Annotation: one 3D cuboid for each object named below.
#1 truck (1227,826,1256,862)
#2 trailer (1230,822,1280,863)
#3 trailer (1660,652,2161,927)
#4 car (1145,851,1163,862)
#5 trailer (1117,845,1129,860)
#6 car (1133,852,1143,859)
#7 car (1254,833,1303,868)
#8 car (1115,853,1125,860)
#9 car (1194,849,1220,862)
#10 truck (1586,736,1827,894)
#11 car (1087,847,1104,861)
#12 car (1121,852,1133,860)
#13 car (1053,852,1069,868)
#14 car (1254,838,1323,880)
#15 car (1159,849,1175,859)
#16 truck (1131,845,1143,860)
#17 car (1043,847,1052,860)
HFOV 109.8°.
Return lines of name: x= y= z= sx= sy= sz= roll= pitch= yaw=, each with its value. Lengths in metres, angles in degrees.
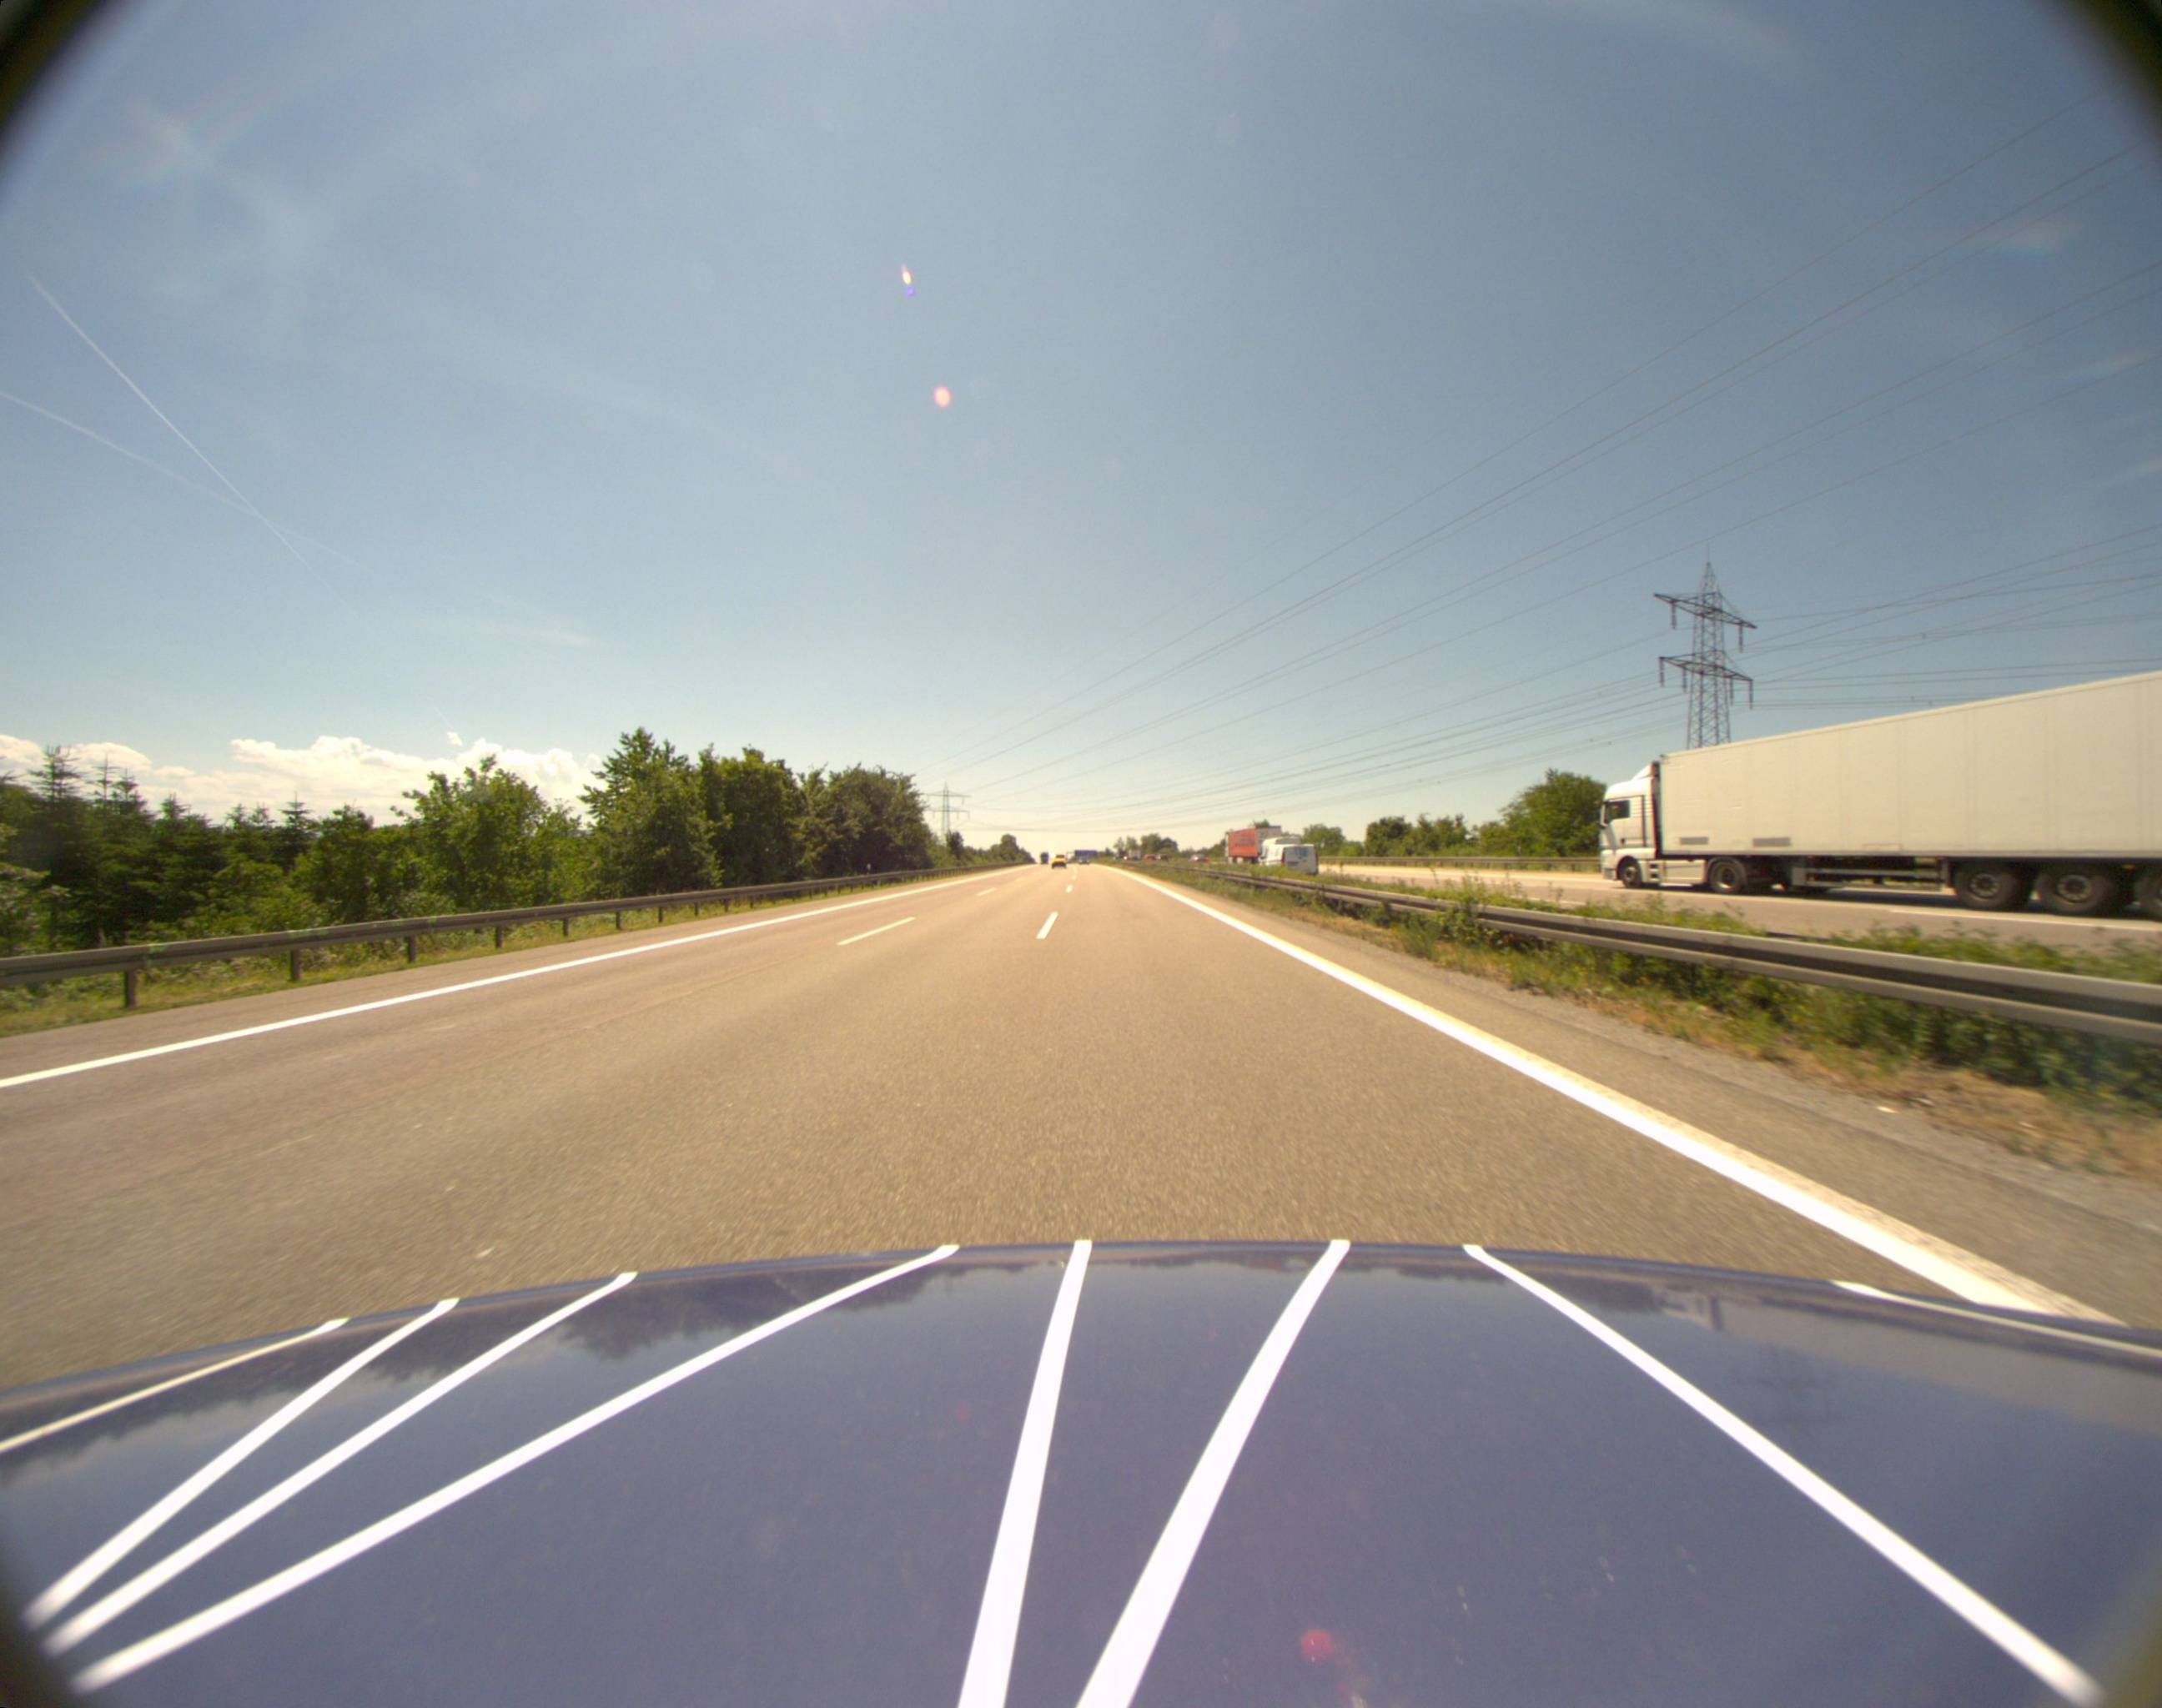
truck: x=18.840 y=-1.174 z=89.428 sx=2.488 sy=3.995 sz=4.602 roll=-2 pitch=0 yaw=1
trailer: x=18.686 y=-1.211 z=82.661 sx=2.513 sy=4.019 sz=13.585 roll=-2 pitch=0 yaw=1
trailer: x=18.117 y=-1.056 z=15.104 sx=2.842 sy=4.233 sz=13.636 roll=-2 pitch=0 yaw=1
car: x=10.383 y=0.310 z=108.804 sx=1.999 sy=1.540 sz=4.447 roll=-2 pitch=0 yaw=-1
trailer: x=14.354 y=-0.414 z=259.813 sx=2.656 sy=4.524 sz=13.864 roll=-2 pitch=-1 yaw=-2
car: x=13.460 y=0.428 z=180.346 sx=1.999 sy=1.608 sz=4.411 roll=-2 pitch=-1 yaw=-1
car: x=14.845 y=-0.288 z=57.450 sx=1.998 sy=2.456 sz=6.490 roll=-2 pitch=0 yaw=0
car: x=9.324 y=0.639 z=182.555 sx=1.999 sy=1.427 sz=4.411 roll=-2 pitch=-1 yaw=-1
car: x=13.548 y=0.196 z=82.164 sx=1.998 sy=1.319 sz=4.772 roll=-2 pitch=-1 yaw=0
truck: x=18.179 y=-1.008 z=22.575 sx=2.837 sy=4.057 sz=5.166 roll=-2 pitch=0 yaw=0
car: x=2.612 y=0.054 z=139.469 sx=2.687 sy=2.509 sz=5.967 roll=-1 pitch=-1 yaw=-3
car: x=8.853 y=0.372 z=146.842 sx=1.909 sy=1.471 sz=3.960 roll=-2 pitch=0 yaw=-1
car: x=-2.676 y=0.841 z=99.246 sx=1.956 sy=2.001 sz=5.432 roll=-1 pitch=-1 yaw=-3
car: x=10.513 y=0.265 z=38.908 sx=1.999 sy=1.928 sz=5.338 roll=-2 pitch=-1 yaw=0
car: x=14.560 y=0.051 z=128.444 sx=1.999 sy=1.663 sz=4.929 roll=-2 pitch=0 yaw=-1
truck: x=15.407 y=-0.448 z=210.353 sx=2.460 sy=3.952 sz=9.671 roll=1 pitch=-1 yaw=-1
car: x=-10.691 y=-0.168 z=239.733 sx=2.687 sy=3.723 sz=6.270 roll=-1 pitch=-1 yaw=-3
